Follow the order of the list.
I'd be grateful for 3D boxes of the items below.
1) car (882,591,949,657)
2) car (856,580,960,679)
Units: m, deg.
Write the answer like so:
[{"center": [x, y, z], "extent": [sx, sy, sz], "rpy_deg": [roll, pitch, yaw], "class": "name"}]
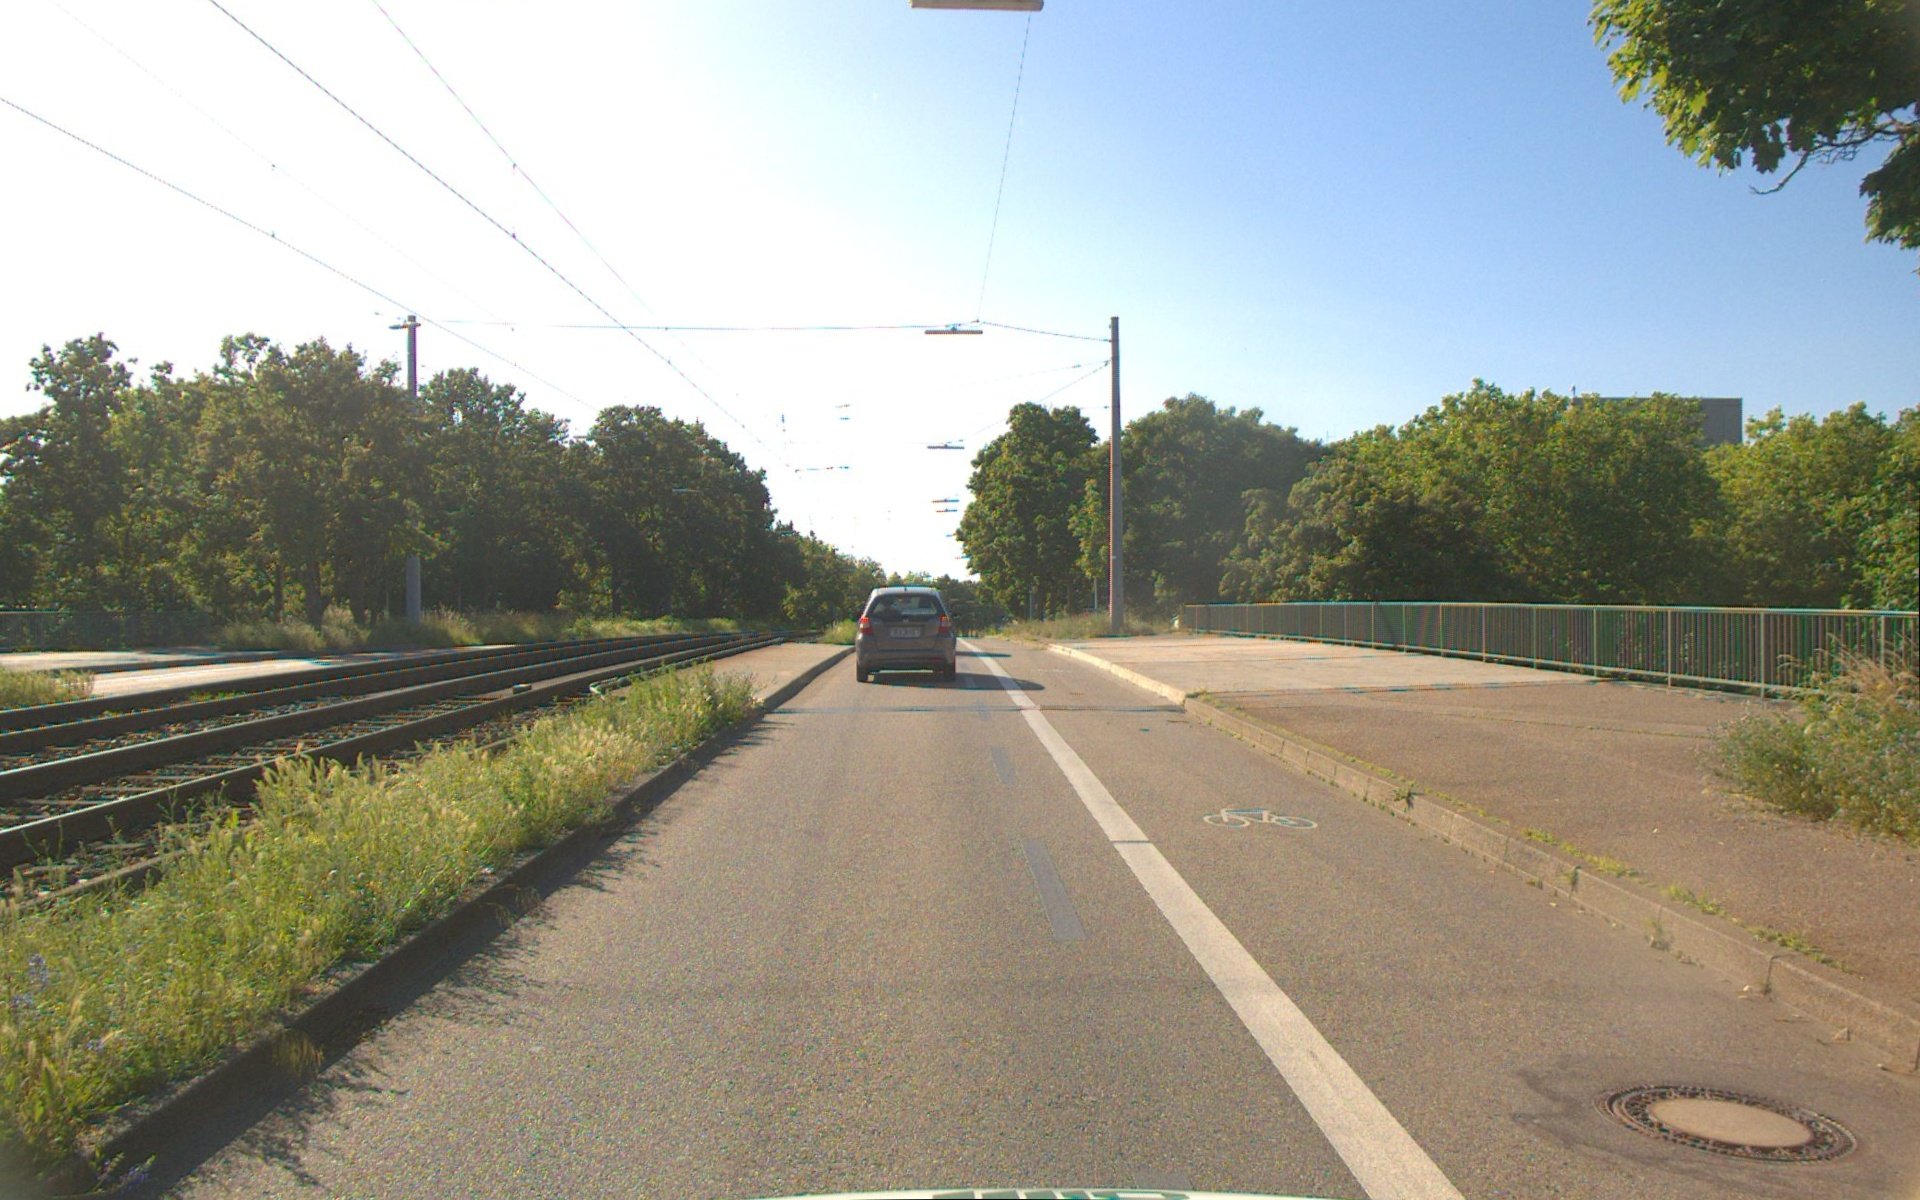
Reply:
[{"center": [-1.103, 0.574, 42.491], "extent": [1.621, 1.534, 3.811], "rpy_deg": [1, 1, 0], "class": "car"}, {"center": [-0.858, 0.448, 28.297], "extent": [1.636, 1.534, 3.810], "rpy_deg": [1, 1, -1], "class": "car"}]
